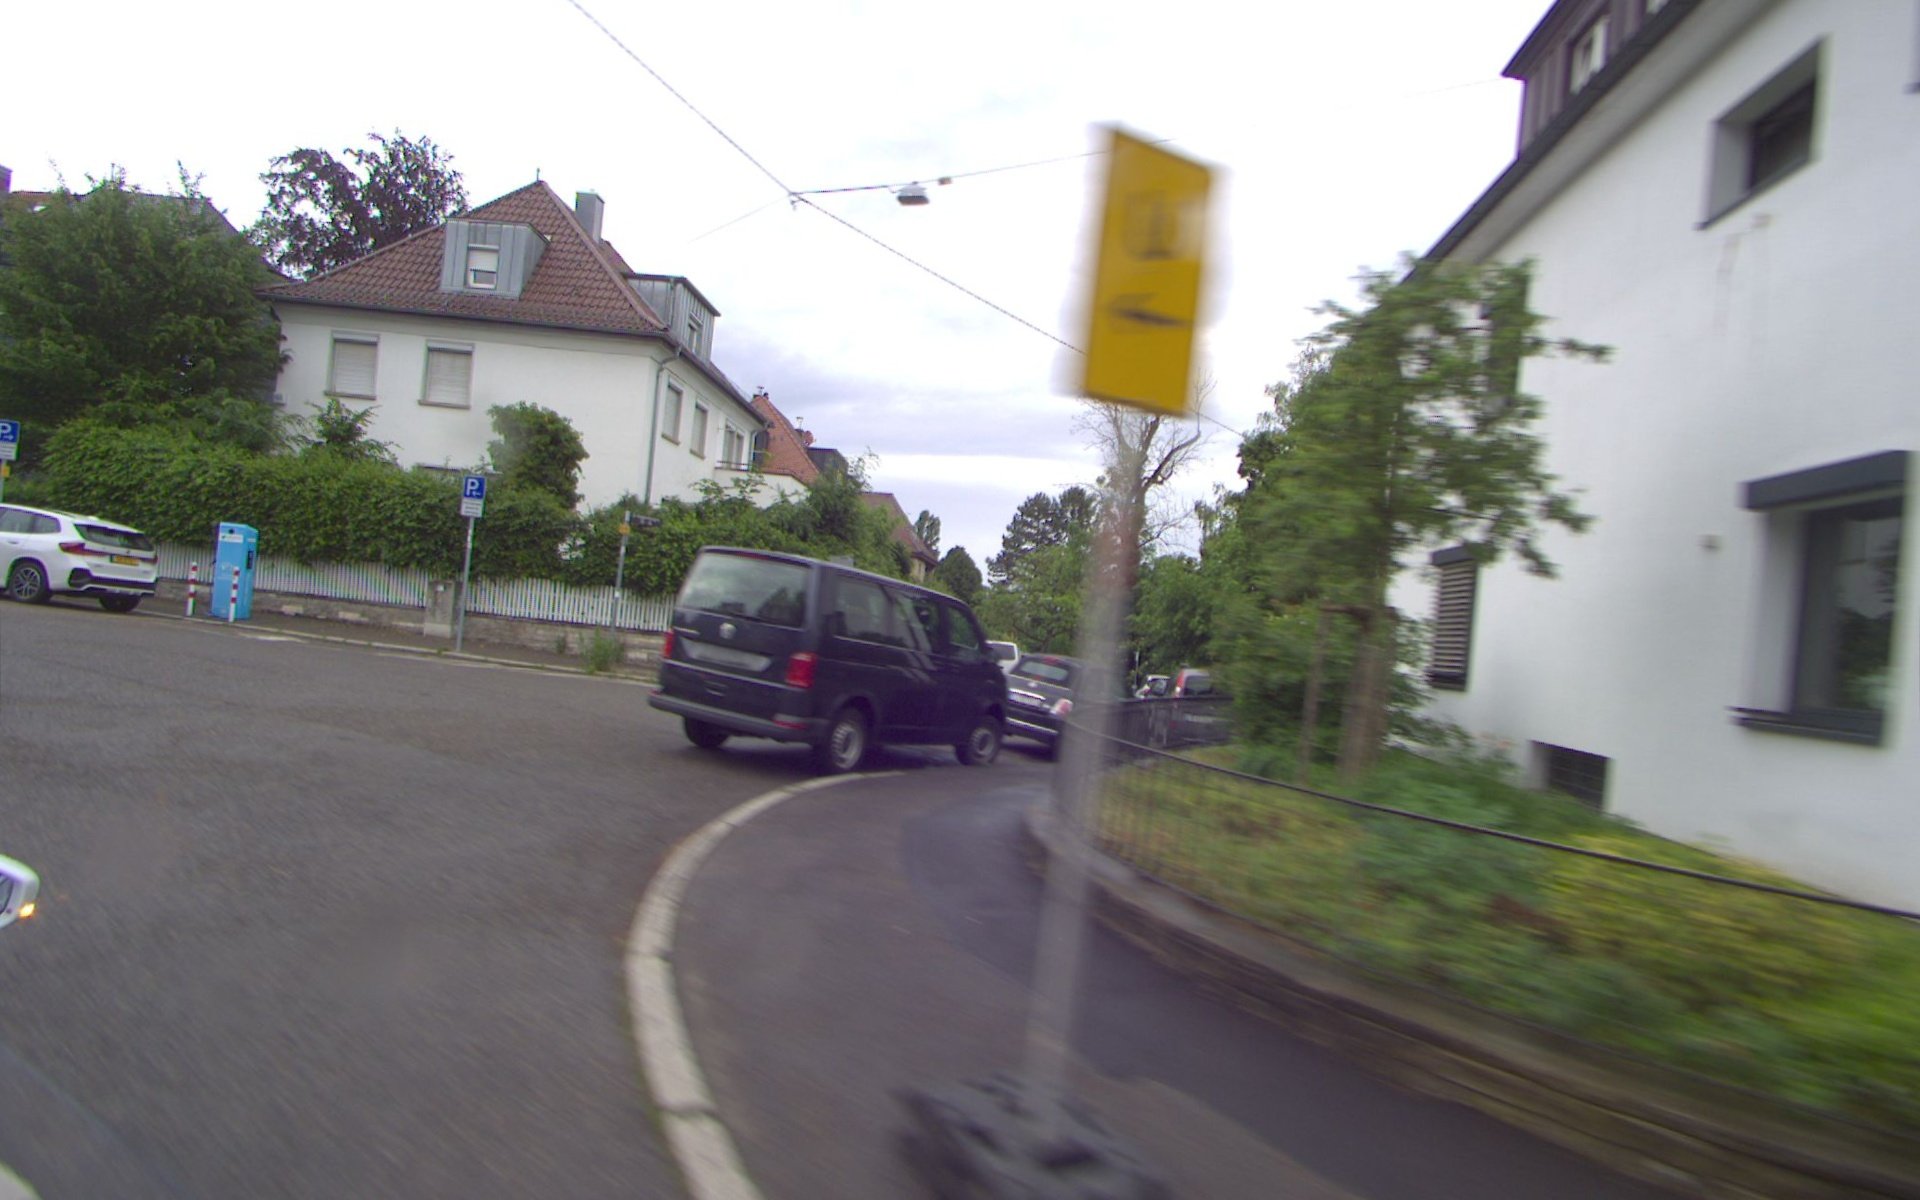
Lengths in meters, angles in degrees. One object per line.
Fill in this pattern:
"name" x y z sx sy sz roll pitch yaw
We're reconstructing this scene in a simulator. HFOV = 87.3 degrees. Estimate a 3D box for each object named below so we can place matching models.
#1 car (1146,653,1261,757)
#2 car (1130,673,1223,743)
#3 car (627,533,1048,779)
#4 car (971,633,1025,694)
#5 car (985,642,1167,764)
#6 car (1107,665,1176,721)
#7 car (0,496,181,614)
"car" 5.289 2.235 22.305 1.738 1.881 4.006 7 -2 6
"car" 5.812 2.876 27.411 1.738 1.480 4.005 7 -2 4
"car" -0.989 0.618 11.008 1.907 1.971 4.916 6 -1 29
"car" 1.490 2.383 37.999 1.790 2.037 4.005 4 -3 5
"car" 1.883 1.653 15.566 1.301 1.456 3.267 11 -2 33
"car" 5.925 3.013 33.187 1.738 1.480 4.005 7 -2 5
"car" -16.700 -0.925 17.769 4.559 1.691 1.752 7 -2 6
